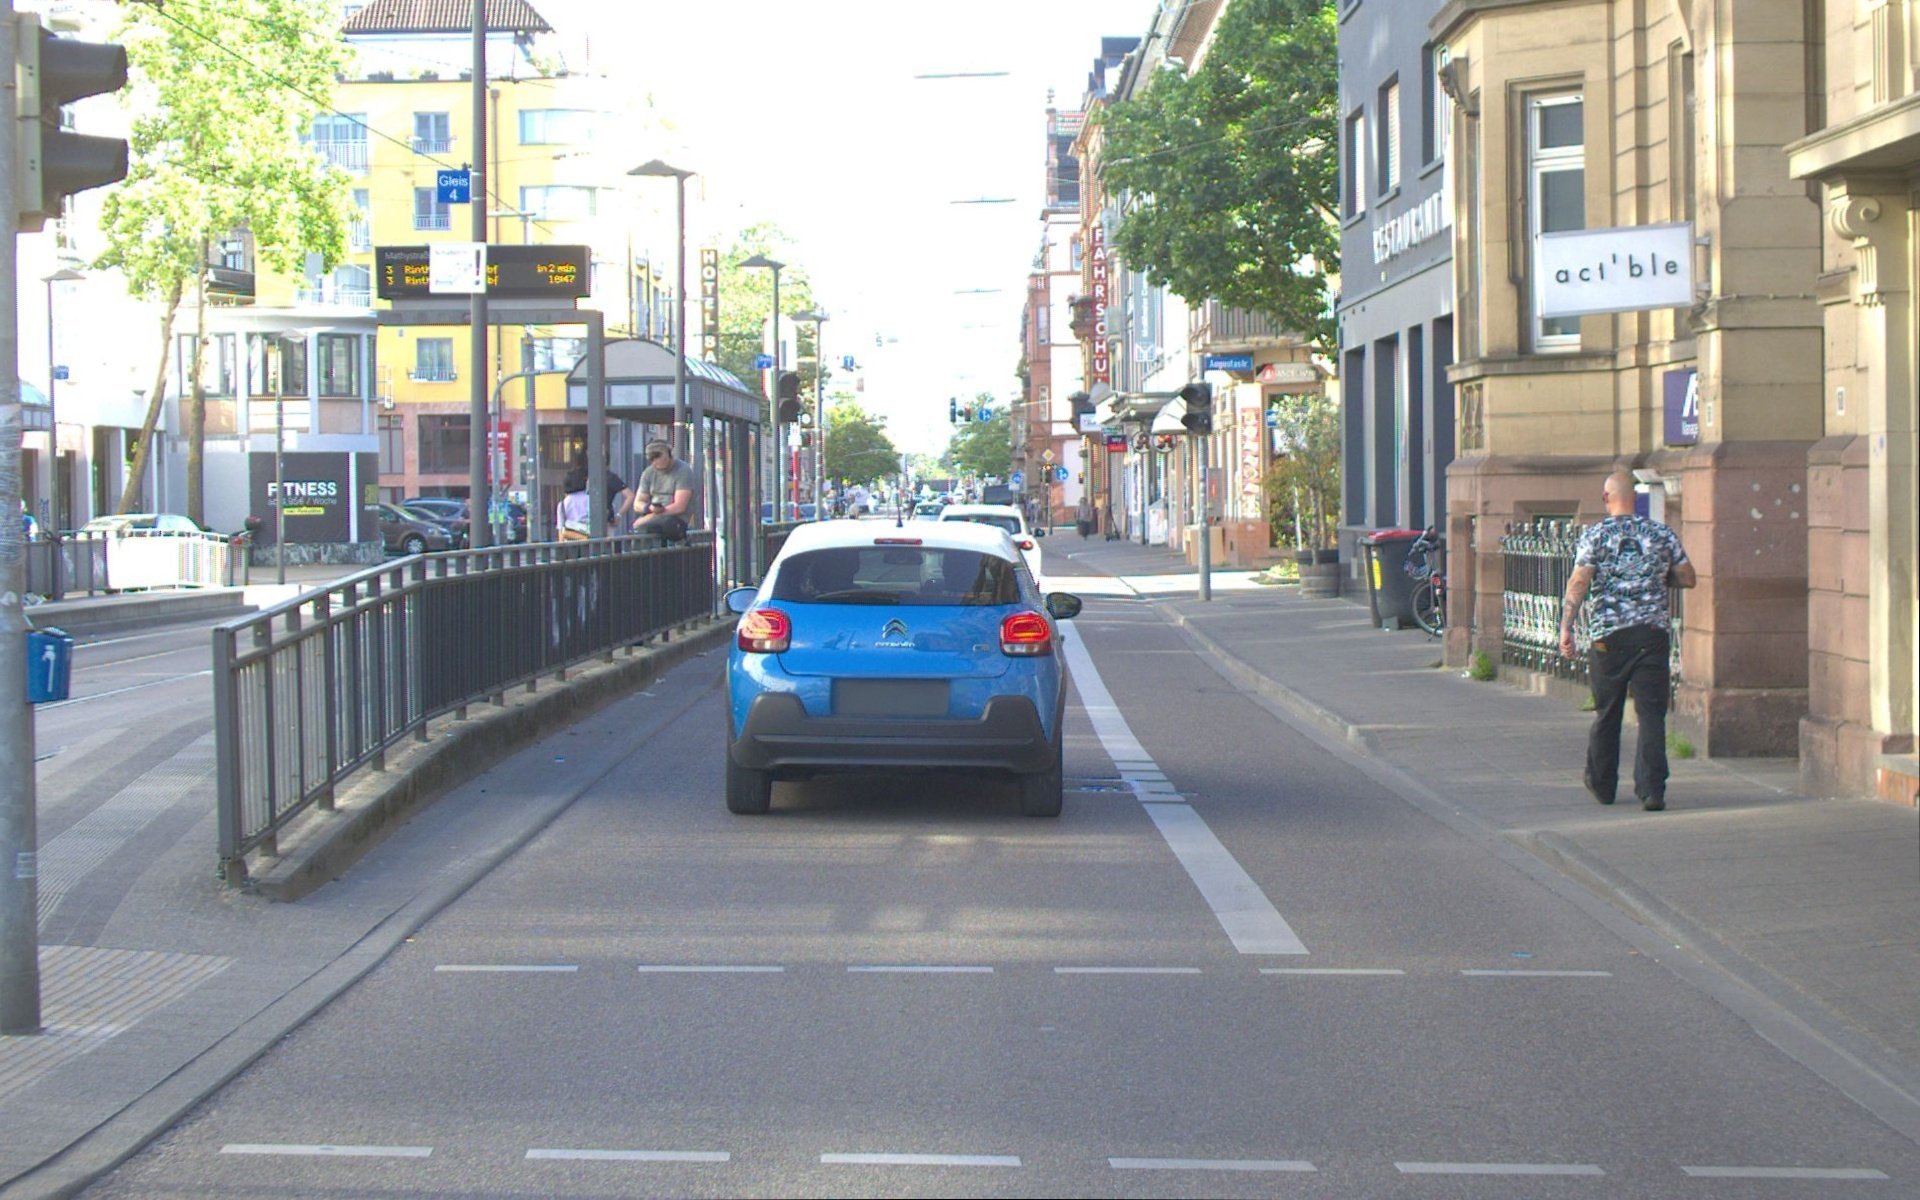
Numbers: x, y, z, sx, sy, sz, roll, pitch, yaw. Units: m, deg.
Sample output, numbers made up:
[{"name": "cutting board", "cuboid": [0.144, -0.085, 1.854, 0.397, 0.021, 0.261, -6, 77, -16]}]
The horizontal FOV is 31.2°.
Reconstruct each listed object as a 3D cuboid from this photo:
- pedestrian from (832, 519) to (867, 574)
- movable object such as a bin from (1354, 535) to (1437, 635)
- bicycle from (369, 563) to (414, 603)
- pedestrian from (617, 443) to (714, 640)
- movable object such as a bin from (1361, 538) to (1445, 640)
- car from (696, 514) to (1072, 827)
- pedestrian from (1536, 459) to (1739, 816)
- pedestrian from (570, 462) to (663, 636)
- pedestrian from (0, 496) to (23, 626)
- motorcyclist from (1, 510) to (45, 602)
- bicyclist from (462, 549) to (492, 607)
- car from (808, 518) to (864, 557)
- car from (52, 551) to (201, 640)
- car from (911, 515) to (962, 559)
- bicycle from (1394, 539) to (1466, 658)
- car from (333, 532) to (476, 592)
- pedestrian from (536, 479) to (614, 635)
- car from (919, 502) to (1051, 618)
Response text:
[{"name": "pedestrian", "cuboid": [-3.387, -1.633, 105.034, 0.838, 1.648, 0.697, -2, 2, -28]}, {"name": "movable object such as a bin", "cuboid": [4.806, -0.171, 37.964, 0.748, 1.033, 0.754, -4, 1, 1]}, {"name": "bicycle", "cuboid": [-15.340, -0.466, 92.799, 0.679, 0.999, 2.686, -1, 2, 1]}, {"name": "pedestrian", "cuboid": [-2.580, -0.514, 30.186, 0.636, 1.692, 0.933, 1, 1, 8]}, {"name": "movable object such as a bin", "cuboid": [4.792, -0.123, 37.196, 0.748, 1.033, 0.754, -4, 1, 1]}, {"name": "car", "cuboid": [-0.349, 0.292, 18.228, 1.781, 1.446, 3.654, 1, 2, 1]}, {"name": "pedestrian", "cuboid": [3.455, 0.165, 17.619, 0.780, 1.743, 1.093, -1, 3, -2]}, {"name": "pedestrian", "cuboid": [-3.532, -0.528, 35.350, 0.718, 1.771, 0.564, 0, 2, 36]}, {"name": "pedestrian", "cuboid": [-11.921, -0.481, 41.990, 0.731, 1.553, 0.743, -1, 2, -1]}, {"name": "motorcyclist", "cuboid": [-15.382, -0.721, 56.446, 0.487, 1.497, 0.722, 1, 1, 1]}, {"name": "bicyclist", "cuboid": [-13.031, -0.596, 92.783, 0.672, 1.551, 0.778, -1, 2, 1]}, {"name": "car", "cuboid": [-5.163, -2.616, 143.286, 1.951, 1.481, 4.000, -2, 2, 3]}, {"name": "car", "cuboid": [-14.777, -0.109, 61.109, 1.691, 1.416, 3.646, 0, 3, 1]}, {"name": "car", "cuboid": [-0.943, -2.551, 139.988, 1.993, 1.737, 4.000, 1, 1, 0]}, {"name": "bicycle", "cuboid": [4.673, -0.030, 34.224, 0.459, 1.119, 1.773, -2, 2, 1]}, {"name": "car", "cuboid": [-16.417, -1.142, 101.738, 3.986, 1.668, 1.958, -1, 2, -3]}, {"name": "pedestrian", "cuboid": [-3.889, -0.441, 34.765, 0.586, 1.556, 0.469, 0, 2, 36]}, {"name": "car", "cuboid": [0.401, -0.637, 54.537, 1.993, 1.737, 4.000, 1, 1, 0]}]
